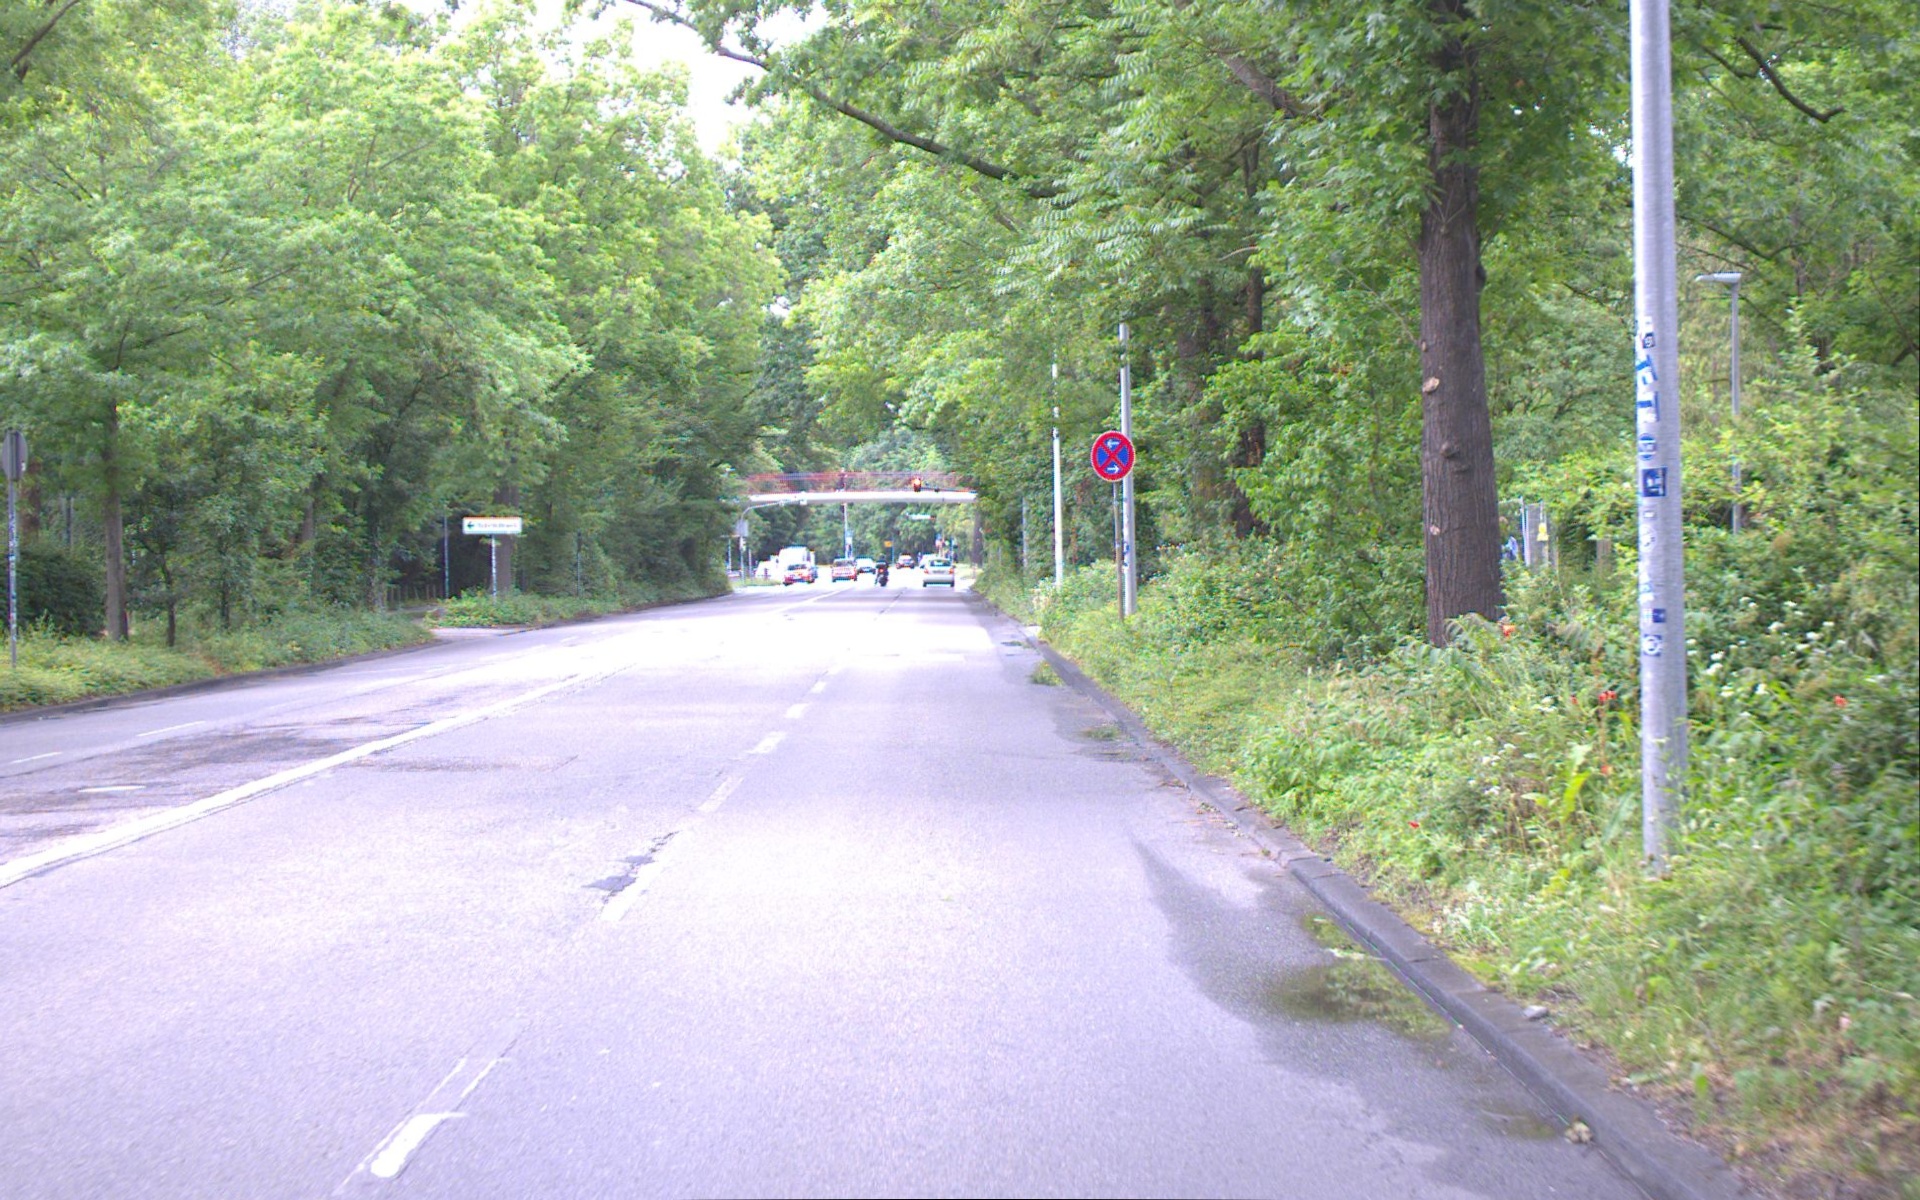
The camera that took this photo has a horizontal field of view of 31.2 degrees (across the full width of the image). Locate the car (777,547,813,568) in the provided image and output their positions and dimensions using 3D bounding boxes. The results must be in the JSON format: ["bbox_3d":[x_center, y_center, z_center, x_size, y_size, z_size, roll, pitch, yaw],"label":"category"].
[{"bbox_3d":[-10.758,-2.777,224.039,1.994,1.349,3.894,0,1,2],"label":"car"}]

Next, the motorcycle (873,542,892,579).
[{"bbox_3d":[-4.082,-2.085,181.004,0.990,1.929,2.669,0,1,0],"label":"motorcycle"}]

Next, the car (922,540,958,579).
[{"bbox_3d":[-1.049,-2.101,177.185,1.843,2.007,4.000,0,1,0],"label":"car"}]

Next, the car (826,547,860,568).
[{"bbox_3d":[-7.653,-2.774,224.291,1.674,1.357,3.922,0,1,-10],"label":"car"}]
